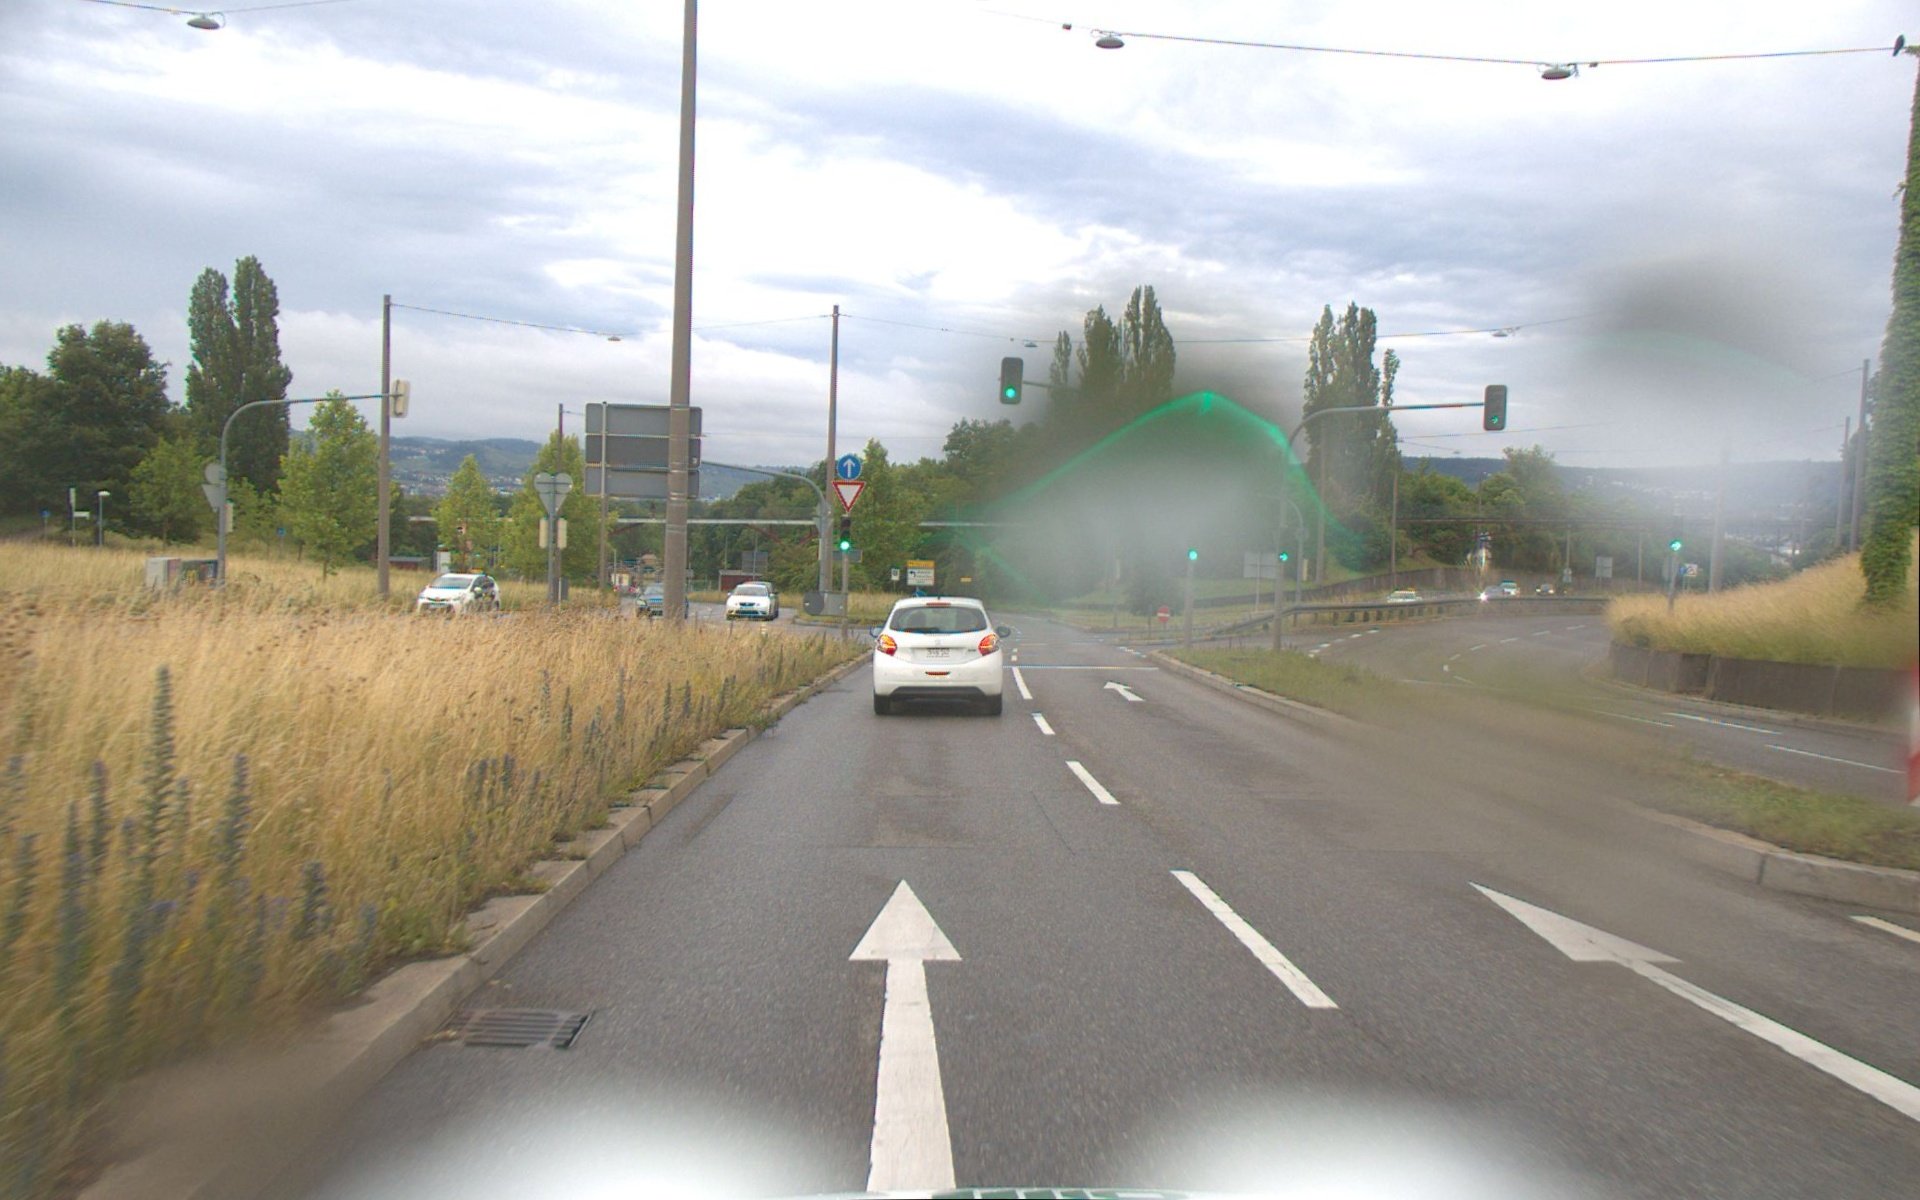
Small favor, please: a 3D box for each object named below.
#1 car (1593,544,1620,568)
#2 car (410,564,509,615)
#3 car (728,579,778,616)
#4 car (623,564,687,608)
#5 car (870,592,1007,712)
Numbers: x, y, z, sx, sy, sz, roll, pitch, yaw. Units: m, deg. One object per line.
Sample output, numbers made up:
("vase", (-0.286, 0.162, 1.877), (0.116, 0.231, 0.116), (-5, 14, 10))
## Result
("car", (63.505, -4.353, 162.442), (2.034, 2.119, 4.369), (4, 4, 26))
("car", (-17.632, -0.325, 58.458), (1.846, 1.639, 4.677), (2, -1, 2))
("car", (-8.358, -0.093, 67.101), (1.703, 1.397, 3.997), (2, -1, -4))
("car", (-11.852, -0.522, 64.465), (1.857, 1.564, 3.997), (2, -1, -3))
("car", (-0.206, 0.653, 22.150), (1.673, 1.465, 3.691), (0, -1, 2))
